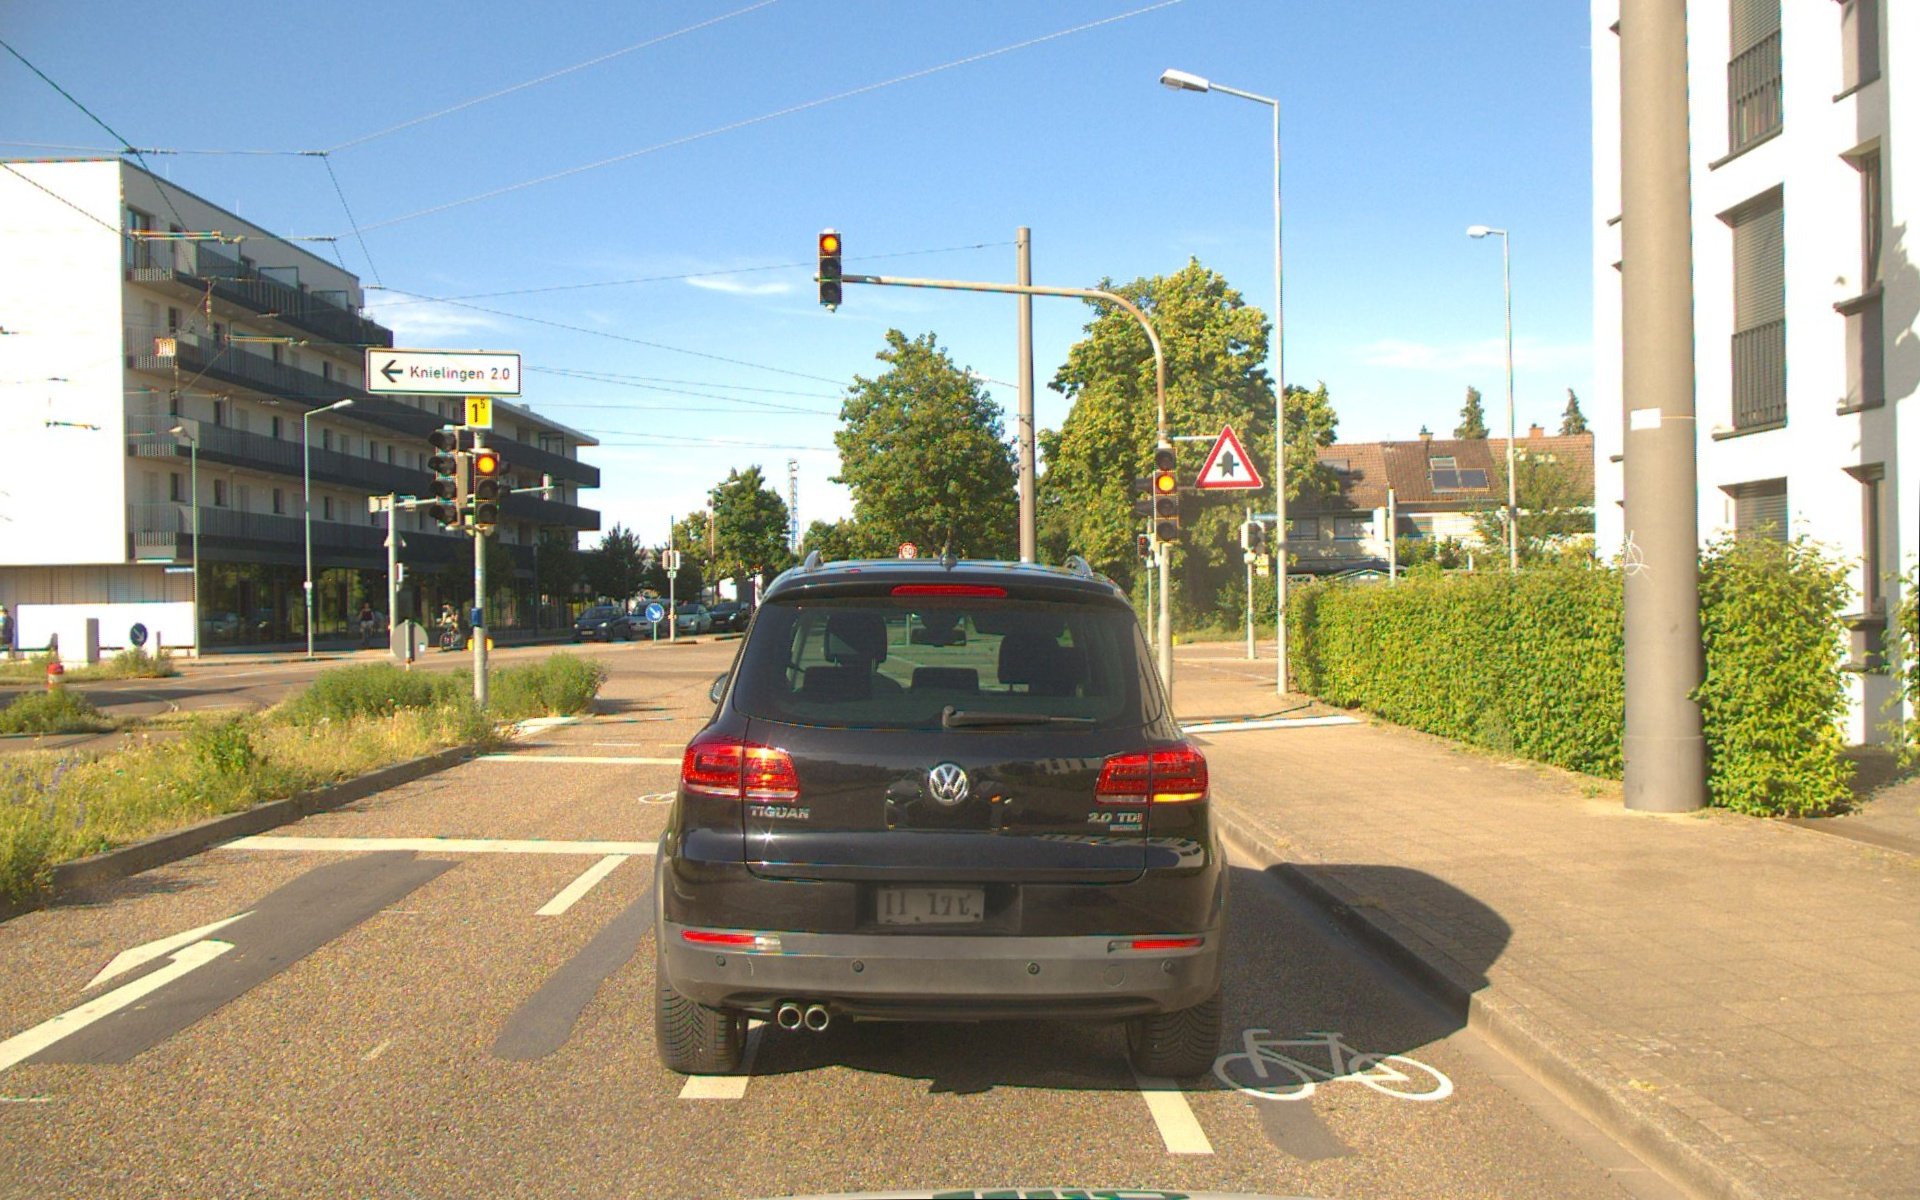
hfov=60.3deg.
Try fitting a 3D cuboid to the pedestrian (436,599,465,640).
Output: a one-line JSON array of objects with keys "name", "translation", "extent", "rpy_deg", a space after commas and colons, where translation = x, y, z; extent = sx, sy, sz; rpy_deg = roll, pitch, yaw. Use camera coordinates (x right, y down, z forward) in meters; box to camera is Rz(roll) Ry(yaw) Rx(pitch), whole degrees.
[{"name": "pedestrian", "translation": [-18.979, 0.719, 61.643], "extent": [0.696, 1.499, 0.954], "rpy_deg": [1, 0, 6]}]

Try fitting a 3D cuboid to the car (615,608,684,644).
[{"name": "car", "translation": [-14.579, 1.189, 77.952], "extent": [1.951, 1.601, 4.342], "rpy_deg": [1, 0, 7]}]

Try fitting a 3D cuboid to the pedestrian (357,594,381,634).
[{"name": "pedestrian", "translation": [-22.729, 0.531, 63.599], "extent": [0.629, 1.535, 0.596], "rpy_deg": [1, -1, 5]}]

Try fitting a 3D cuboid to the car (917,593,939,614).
[{"name": "car", "translation": [-2.791, 0.282, 145.255], "extent": [1.825, 1.750, 3.687], "rpy_deg": [-1, 0, 1]}]

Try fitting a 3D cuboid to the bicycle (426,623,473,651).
[{"name": "bicycle", "translation": [-18.979, 1.360, 61.580], "extent": [0.755, 1.006, 2.434], "rpy_deg": [1, 0, 6]}]

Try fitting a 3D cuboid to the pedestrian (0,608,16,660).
[{"name": "pedestrian", "translation": [-32.378, 1.147, 55.975], "extent": [0.532, 1.774, 0.517], "rpy_deg": [1, -1, -6]}]

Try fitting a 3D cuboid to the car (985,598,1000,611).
[{"name": "car", "translation": [4.675, 0.639, 238.579], "extent": [1.953, 1.713, 3.998], "rpy_deg": [1, 0, -2]}]

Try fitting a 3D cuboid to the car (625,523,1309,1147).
[{"name": "car", "translation": [-0.004, 0.649, 6.489], "extent": [1.831, 1.666, 3.999], "rpy_deg": [1, 0, -1]}]

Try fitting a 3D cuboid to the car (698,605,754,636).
[{"name": "car", "translation": [-12.812, 1.103, 90.788], "extent": [1.951, 1.601, 4.342], "rpy_deg": [1, 0, 7]}]

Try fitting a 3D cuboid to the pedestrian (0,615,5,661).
[{"name": "pedestrian", "translation": [-32.362, 1.272, 55.423], "extent": [0.433, 1.529, 0.517], "rpy_deg": [1, -1, -6]}]

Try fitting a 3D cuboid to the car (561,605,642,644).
[{"name": "car", "translation": [-15.372, 1.044, 71.228], "extent": [1.951, 1.601, 4.343], "rpy_deg": [1, 0, 9]}]

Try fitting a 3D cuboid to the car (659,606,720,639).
[{"name": "car", "translation": [-13.762, 1.124, 84.343], "extent": [1.951, 1.601, 4.342], "rpy_deg": [1, 0, 7]}]

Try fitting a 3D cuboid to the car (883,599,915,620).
[{"name": "car", "translation": [-4.584, 0.684, 125.233], "extent": [1.824, 1.511, 4.113], "rpy_deg": [-1, 0, 7]}]

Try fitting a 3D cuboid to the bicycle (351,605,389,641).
[{"name": "bicycle", "translation": [-22.726, 0.894, 63.746], "extent": [0.617, 1.355, 1.914], "rpy_deg": [1, 0, 5]}]
